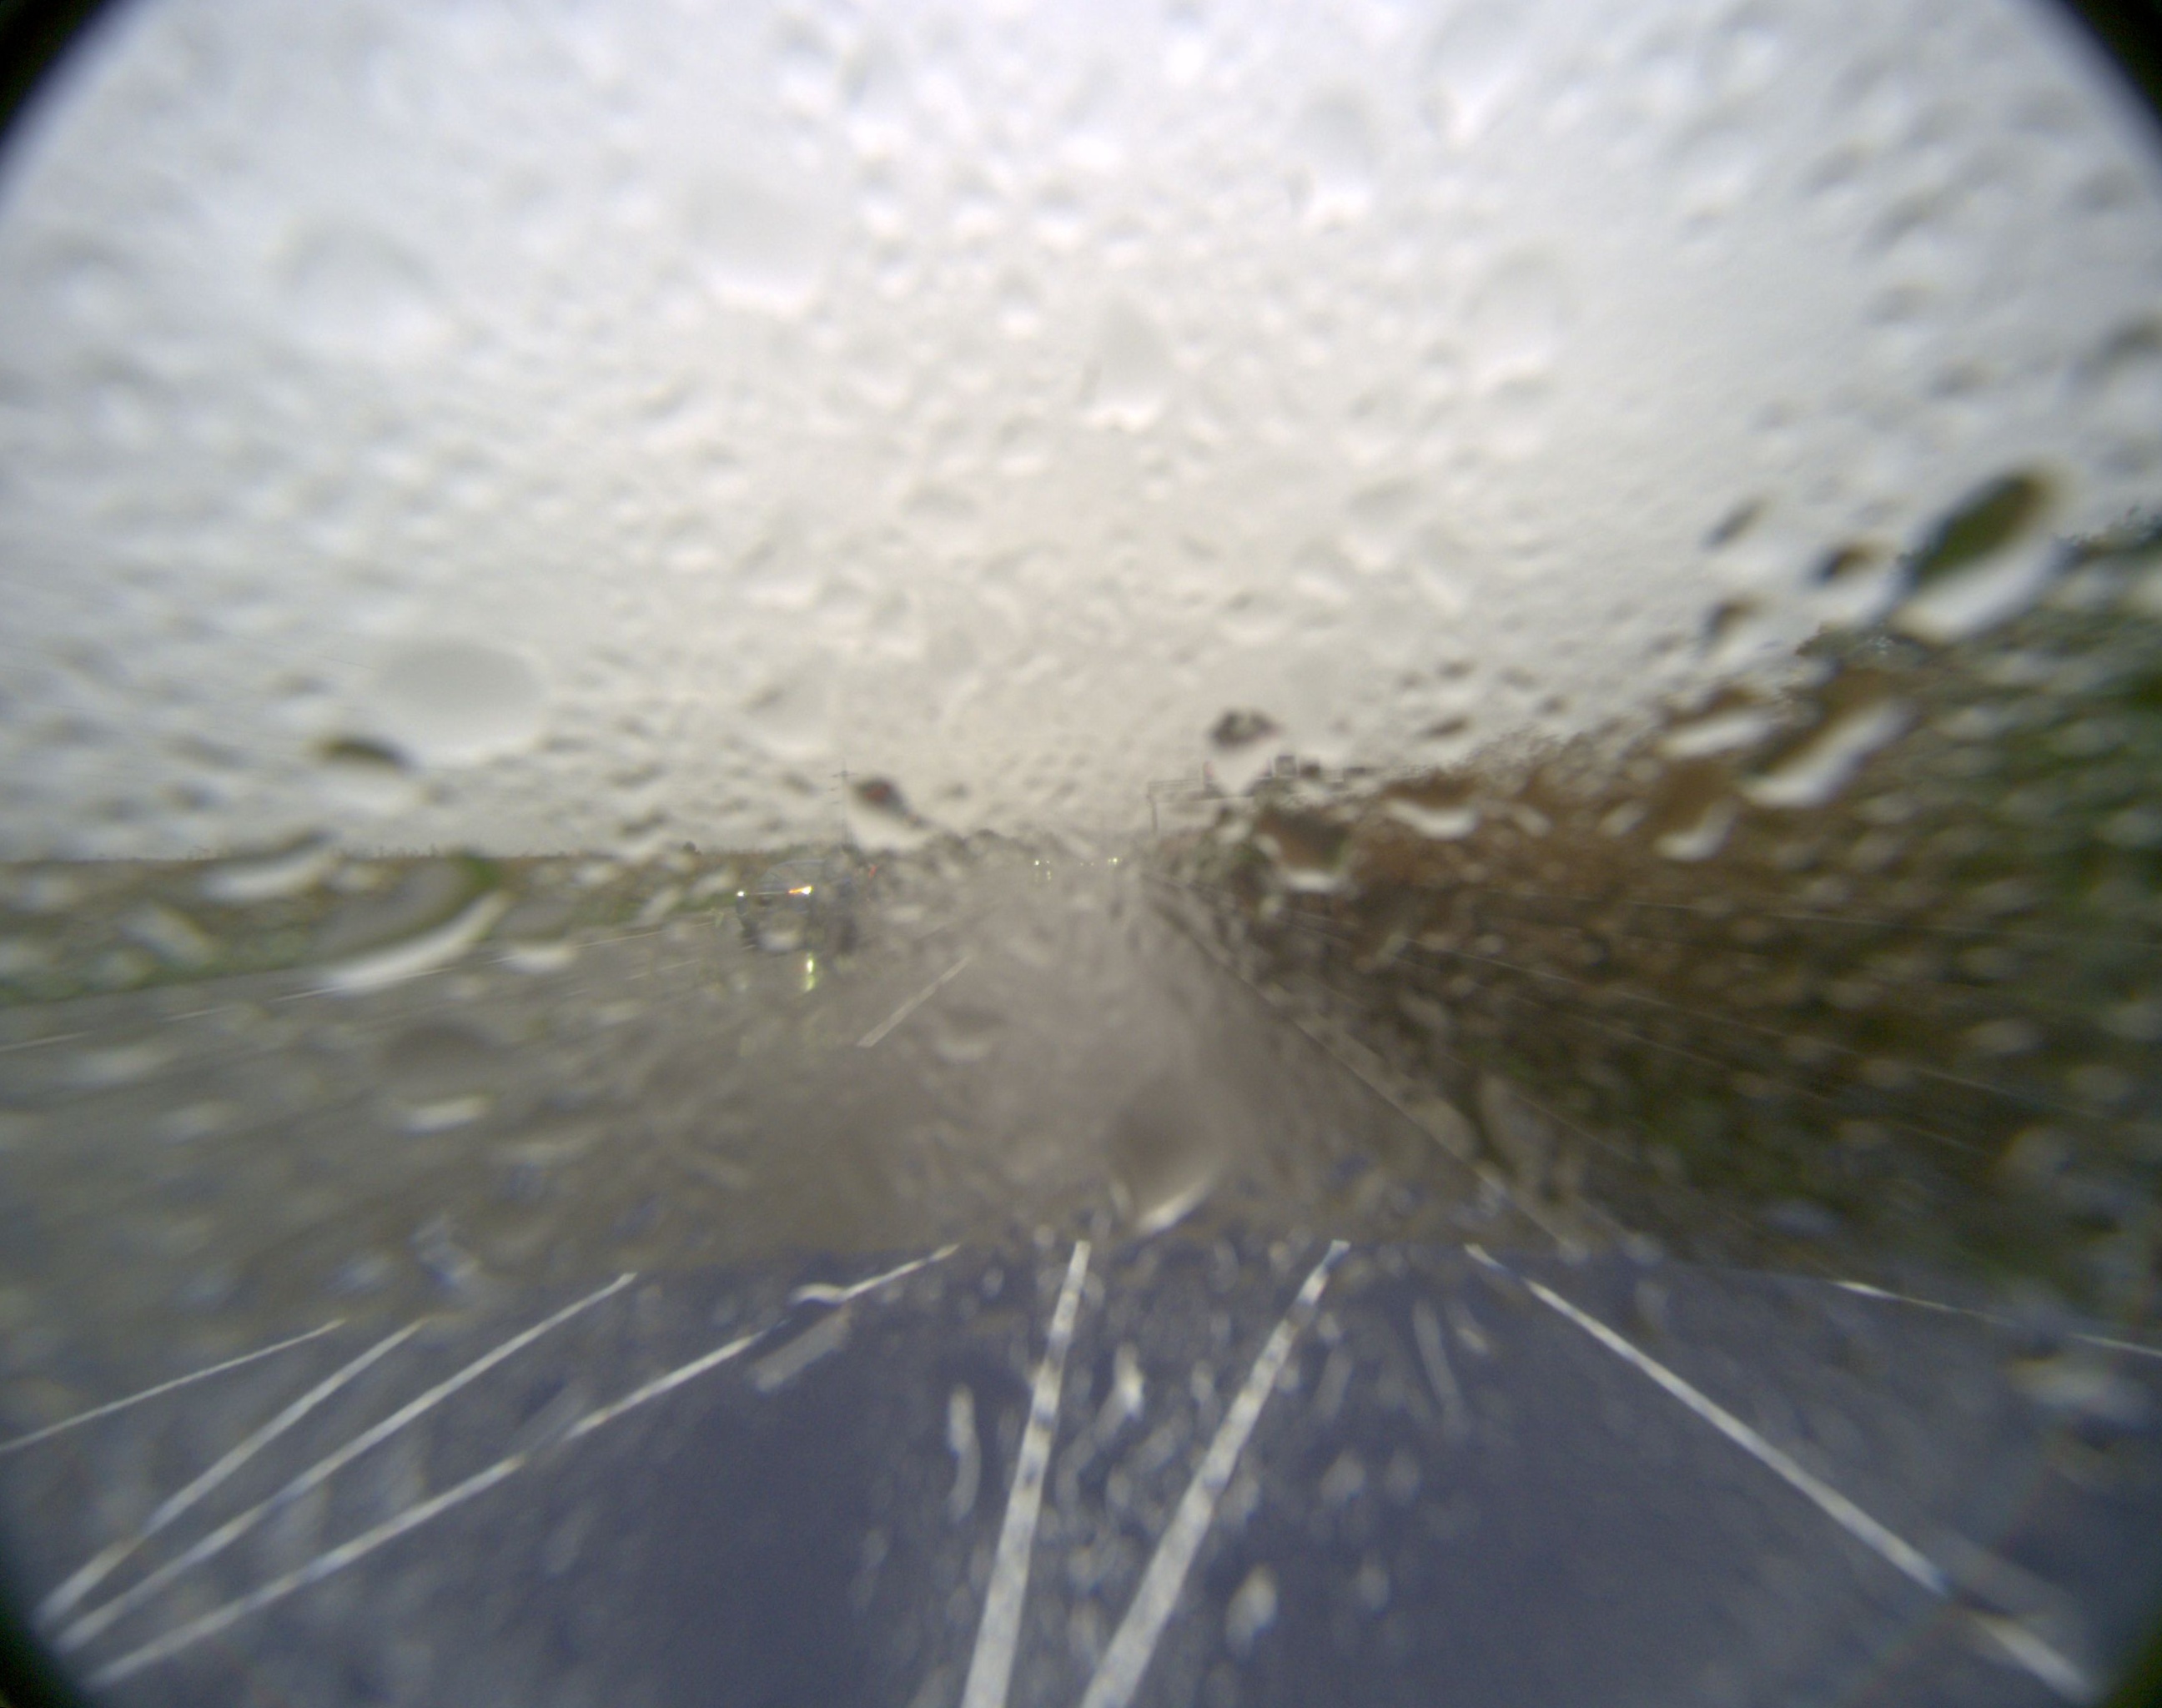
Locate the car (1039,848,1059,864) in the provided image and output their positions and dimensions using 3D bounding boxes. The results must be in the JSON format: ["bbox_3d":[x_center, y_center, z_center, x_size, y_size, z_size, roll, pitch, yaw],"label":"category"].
[{"bbox_3d":[-4.196,0.284,99.203,1.998,2.001,4.002,-3,-1,5],"label":"car"}]

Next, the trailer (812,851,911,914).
[{"bbox_3d":[-6.747,0.828,23.733,1.983,1.774,3.189,-2,0,3],"label":"trailer"}]

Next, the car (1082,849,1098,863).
[{"bbox_3d":[1.370,0.343,114.083,1.997,2.002,4.002,-2,0,7],"label":"car"}]

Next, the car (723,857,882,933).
[{"bbox_3d":[-6.945,0.944,19.634,1.998,1.609,4.993,-2,0,3],"label":"car"}]

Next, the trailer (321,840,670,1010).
[{"bbox_3d":[-8.167,0.854,11.206,1.999,2.002,3.999,-2,0,-1],"label":"trailer"}]
